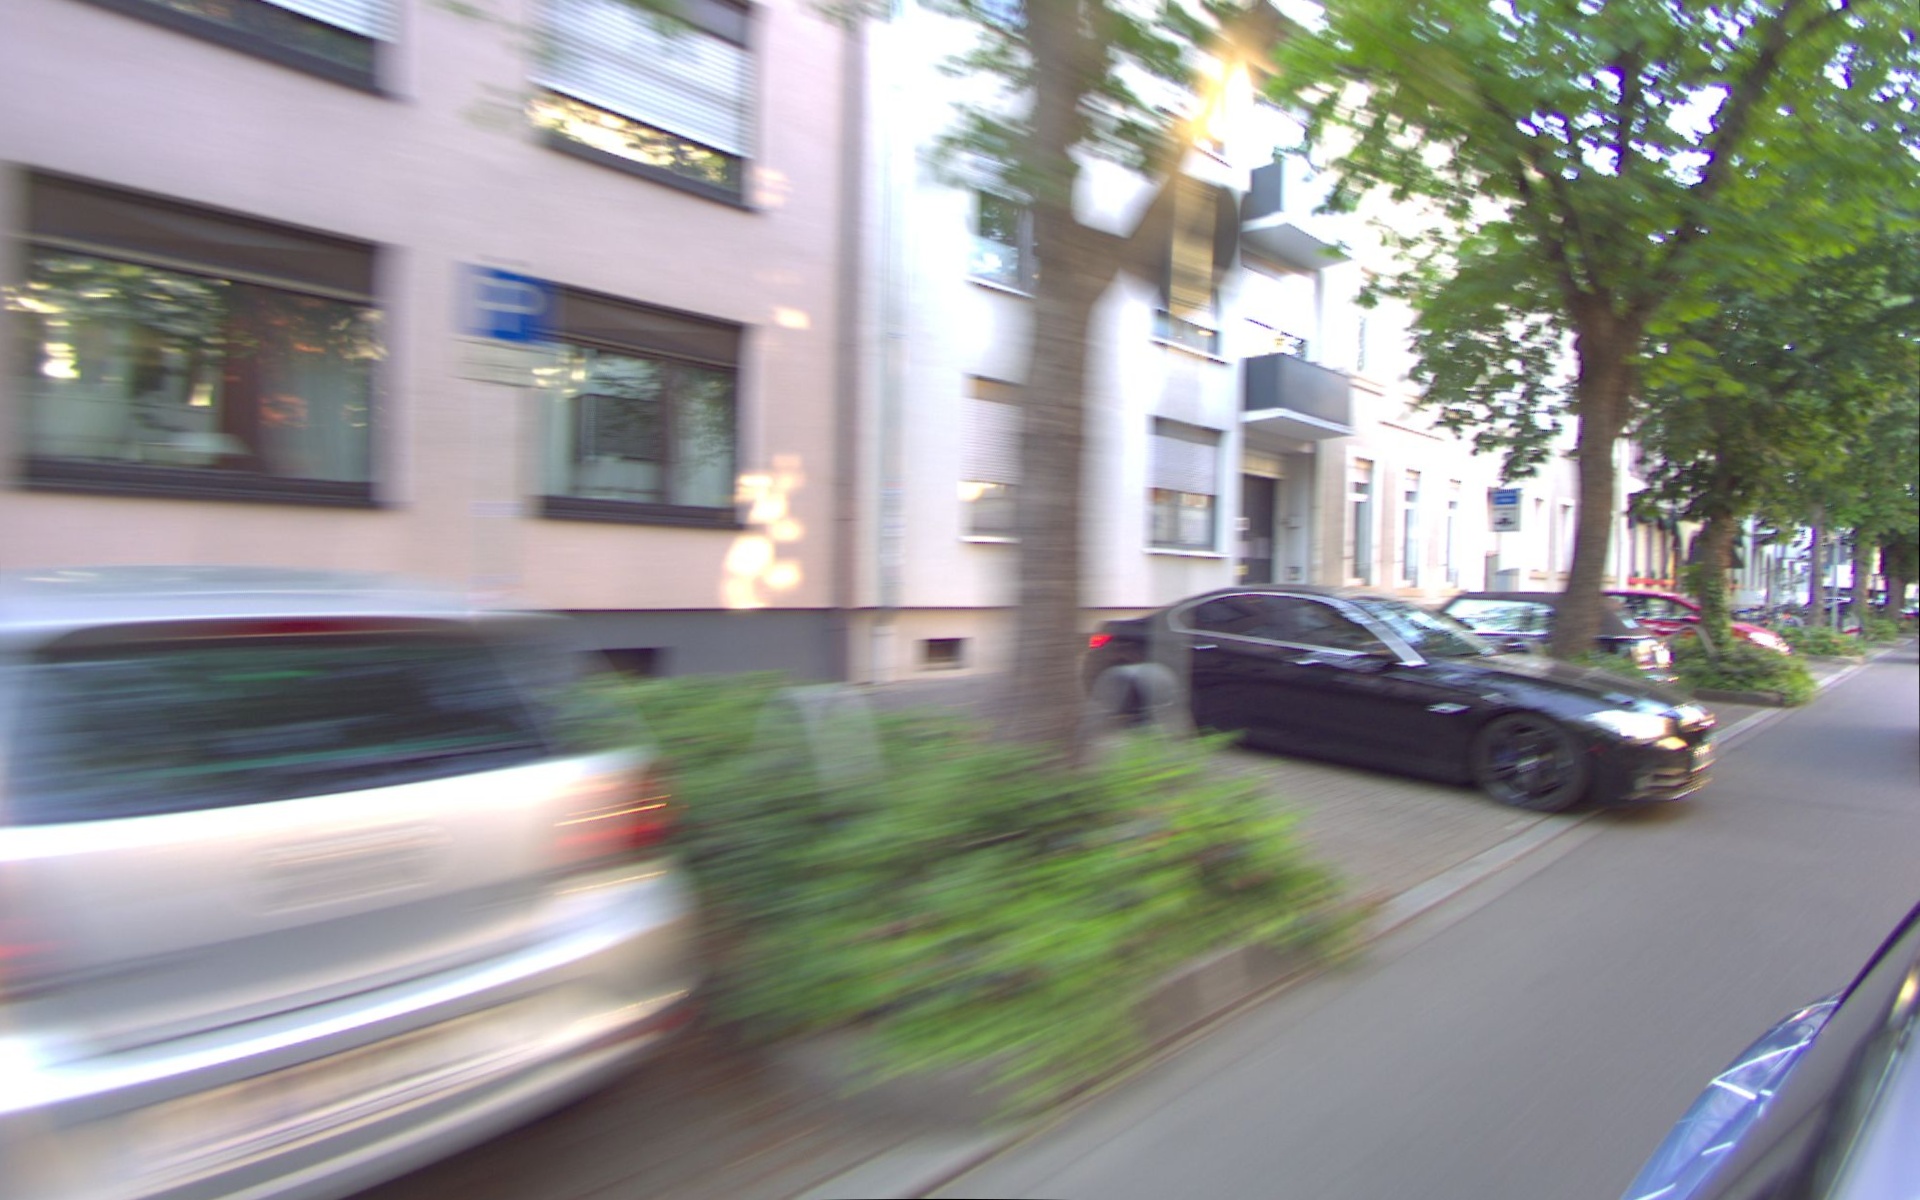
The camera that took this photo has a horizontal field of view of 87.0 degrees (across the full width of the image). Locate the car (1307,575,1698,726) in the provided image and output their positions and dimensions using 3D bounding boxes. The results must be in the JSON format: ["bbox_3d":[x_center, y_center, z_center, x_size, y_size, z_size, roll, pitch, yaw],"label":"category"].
[{"bbox_3d":[6.388,0.476,12.165,3.834,1.428,1.687,3,2,42],"label":"car"}]

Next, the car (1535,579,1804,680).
[{"bbox_3d":[12.571,0.431,18.059,3.722,1.572,1.727,2,1,44],"label":"car"}]

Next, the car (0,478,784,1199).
[{"bbox_3d":[-2.506,0.530,3.215,4.082,1.509,1.770,2,1,44],"label":"car"}]

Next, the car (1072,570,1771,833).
[{"bbox_3d":[3.427,0.533,8.353,1.955,1.516,4.880,0,2,-43],"label":"car"}]
